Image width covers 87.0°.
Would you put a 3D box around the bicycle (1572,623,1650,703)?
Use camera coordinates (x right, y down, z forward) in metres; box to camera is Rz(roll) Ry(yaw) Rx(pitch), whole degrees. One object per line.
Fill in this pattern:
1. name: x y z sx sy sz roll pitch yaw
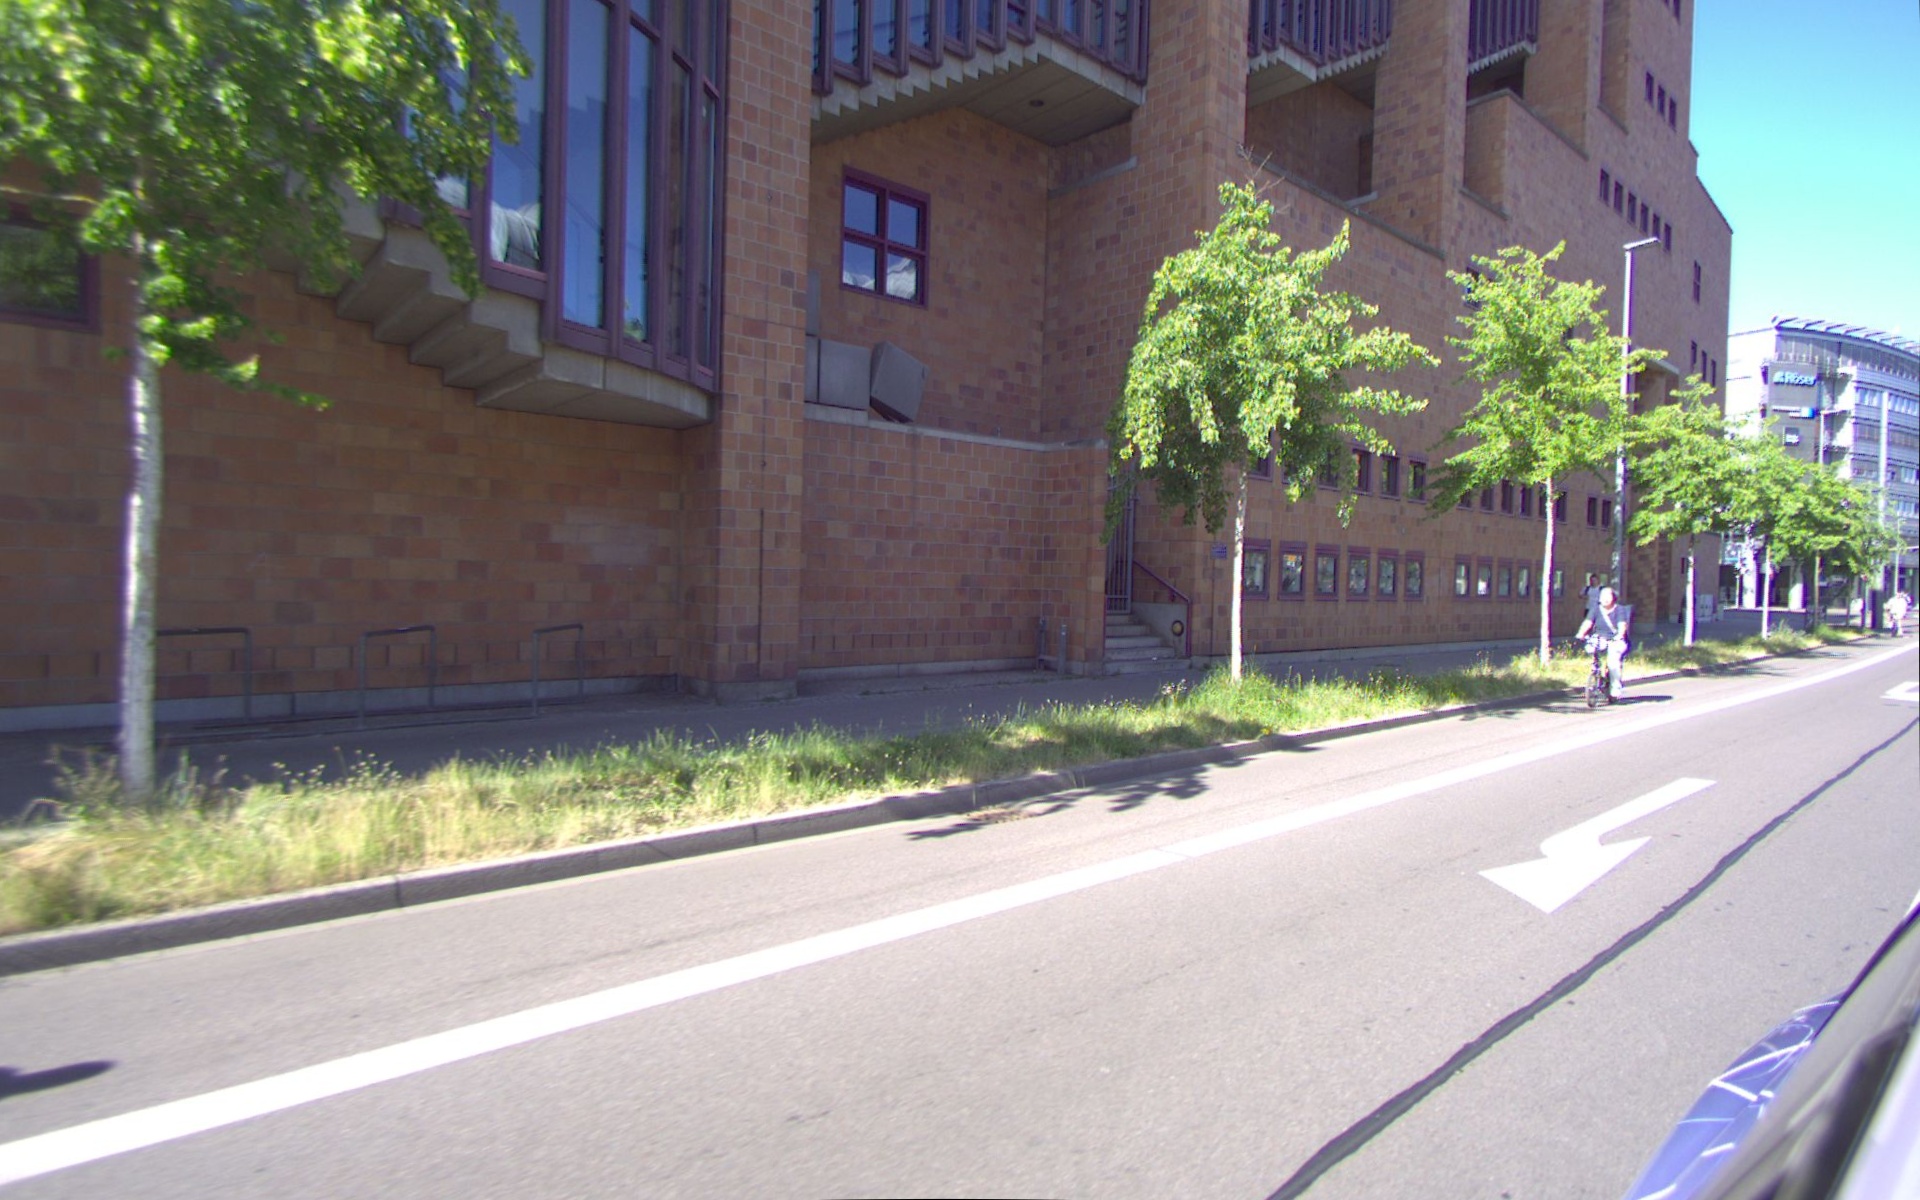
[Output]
1. bicycle: 9.224 0.862 14.326 1.481 1.040 0.558 0 0 -42

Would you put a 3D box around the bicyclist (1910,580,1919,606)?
1. bicyclist: 60.459 -0.452 63.754 0.748 1.637 0.755 0 0 -38

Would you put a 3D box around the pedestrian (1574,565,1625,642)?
1. pedestrian: 16.392 0.072 25.941 1.087 1.906 0.789 0 2 -41

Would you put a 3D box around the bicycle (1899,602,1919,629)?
1. bicycle: 39.833 0.644 42.348 1.480 1.110 0.578 0 0 -40

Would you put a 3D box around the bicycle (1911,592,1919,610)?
1. bicycle: 60.502 0.082 63.793 1.480 1.110 0.578 0 0 -39

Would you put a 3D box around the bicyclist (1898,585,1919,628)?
1. bicyclist: 39.706 0.265 42.241 0.893 1.750 0.684 0 0 -38

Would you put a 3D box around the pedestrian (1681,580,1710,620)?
1. pedestrian: 30.986 -0.020 42.617 0.960 1.639 0.789 0 2 -44

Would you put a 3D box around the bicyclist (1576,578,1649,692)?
1. bicyclist: 9.251 0.471 14.354 0.893 1.557 0.658 0 0 -42
